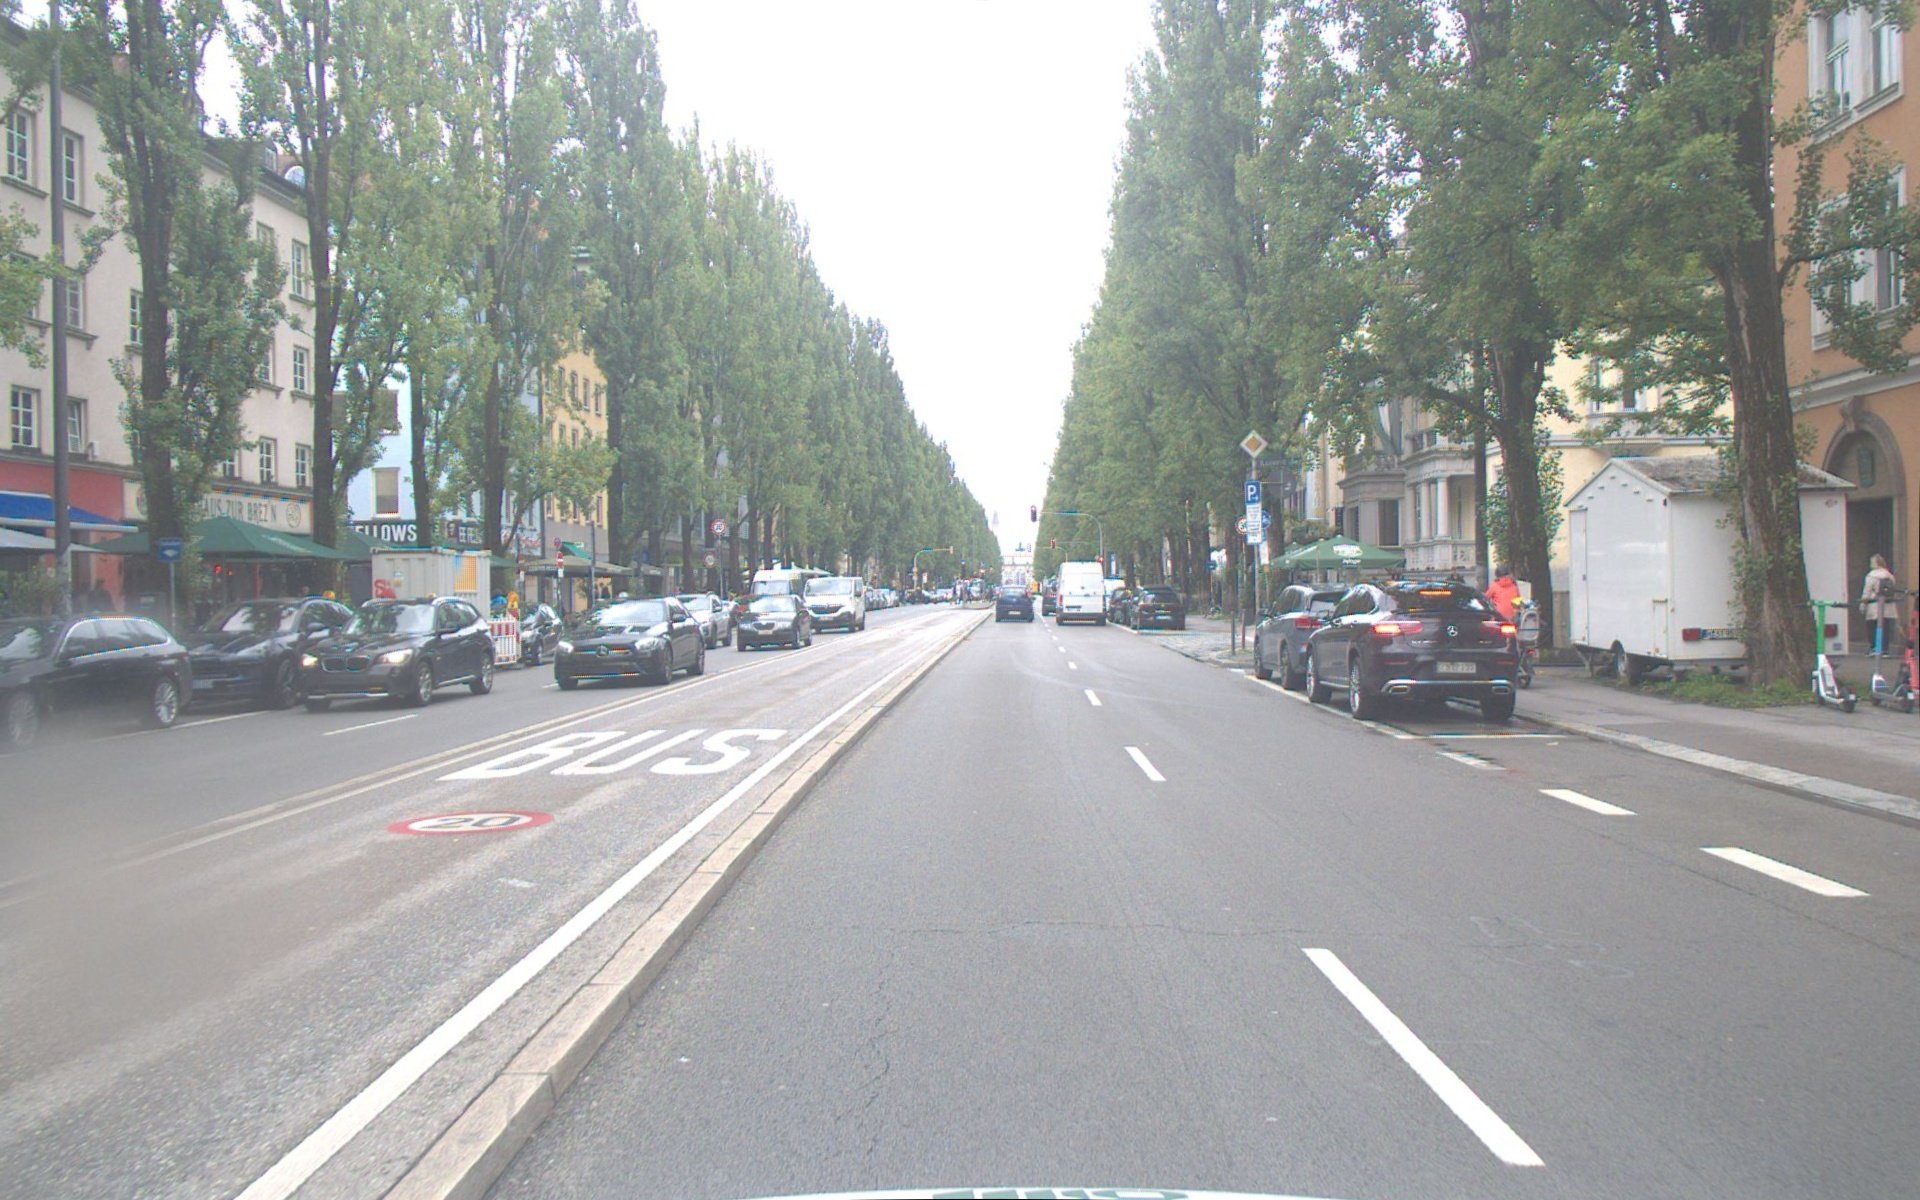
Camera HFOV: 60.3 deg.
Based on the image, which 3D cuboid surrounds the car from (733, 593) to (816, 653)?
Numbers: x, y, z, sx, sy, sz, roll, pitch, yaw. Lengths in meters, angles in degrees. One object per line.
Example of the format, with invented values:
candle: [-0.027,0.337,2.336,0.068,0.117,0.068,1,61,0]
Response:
car: [-4.849,0.576,43.736,1.676,1.438,3.723,-1,0,1]

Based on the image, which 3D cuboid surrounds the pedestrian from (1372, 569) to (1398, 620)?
pedestrian: [15.828,-0.209,61.612,0.745,1.886,0.740,-1,0,-1]

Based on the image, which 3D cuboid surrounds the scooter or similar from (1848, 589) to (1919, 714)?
scooter or similar: [10.030,0.532,17.765,0.475,1.254,1.407,-3,0,14]

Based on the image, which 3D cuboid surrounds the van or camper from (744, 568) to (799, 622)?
van or camper: [-8.954,-0.248,78.824,1.952,2.501,4.252,-1,0,2]

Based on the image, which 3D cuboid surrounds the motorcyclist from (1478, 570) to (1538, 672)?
motorcyclist: [7.934,0.291,23.949,0.552,1.431,0.766,-2,0,-2]

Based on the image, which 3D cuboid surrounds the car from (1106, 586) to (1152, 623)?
car: [7.623,0.208,74.806,1.767,1.624,4.001,0,0,2]

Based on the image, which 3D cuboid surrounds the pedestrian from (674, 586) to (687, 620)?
pedestrian: [-15.750,0.164,93.139,0.570,1.889,0.675,-1,0,0]

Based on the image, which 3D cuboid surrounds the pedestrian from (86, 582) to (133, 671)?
pedestrian: [-18.459,0.564,35.912,0.625,1.894,0.648,-1,0,1]

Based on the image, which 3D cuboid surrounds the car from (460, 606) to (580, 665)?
car: [-10.330,0.805,39.100,1.772,1.272,3.701,-1,0,1]

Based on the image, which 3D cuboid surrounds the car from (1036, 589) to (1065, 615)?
car: [4.931,0.087,90.076,1.472,1.336,3.284,-1,0,2]

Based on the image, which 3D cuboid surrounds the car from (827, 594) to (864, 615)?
car: [-8.015,0.314,116.188,1.951,1.445,4.002,0,0,5]

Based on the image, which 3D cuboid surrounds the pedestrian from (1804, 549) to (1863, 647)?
pedestrian: [14.887,-0.036,28.205,0.658,1.641,0.640,-1,0,4]

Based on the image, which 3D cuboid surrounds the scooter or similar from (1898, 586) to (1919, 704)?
scooter or similar: [10.552,0.480,17.772,0.475,1.254,1.169,-3,0,14]

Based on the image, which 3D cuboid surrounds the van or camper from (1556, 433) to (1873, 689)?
van or camper: [10.436,-0.515,23.374,2.409,3.166,4.717,-2,0,2]

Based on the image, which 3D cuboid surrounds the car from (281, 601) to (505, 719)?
car: [-8.464,0.844,25.091,1.810,1.592,4.213,-2,-1,2]

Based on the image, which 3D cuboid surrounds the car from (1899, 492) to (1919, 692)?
car: [11.848,-0.093,17.620,1.860,2.368,4.829,-2,0,13]

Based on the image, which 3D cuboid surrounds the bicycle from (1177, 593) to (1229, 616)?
bicycle: [11.063,0.197,75.385,0.752,1.041,2.703,-1,0,-33]

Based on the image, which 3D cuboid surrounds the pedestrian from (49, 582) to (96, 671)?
pedestrian: [-19.188,0.560,35.769,0.625,1.894,0.648,-1,0,1]

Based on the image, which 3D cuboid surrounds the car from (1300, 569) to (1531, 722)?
car: [5.549,0.485,20.723,1.841,1.670,4.585,-1,0,3]

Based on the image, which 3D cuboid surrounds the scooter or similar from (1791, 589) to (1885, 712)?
scooter or similar: [9.593,0.532,18.109,0.514,1.254,1.478,-3,0,14]

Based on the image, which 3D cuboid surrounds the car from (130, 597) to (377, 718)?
car: [-10.705,0.802,25.435,1.810,1.592,4.334,-2,1,1]

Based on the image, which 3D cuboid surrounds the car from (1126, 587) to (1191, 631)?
car: [7.152,0.313,60.016,1.904,1.493,4.000,-1,0,1]

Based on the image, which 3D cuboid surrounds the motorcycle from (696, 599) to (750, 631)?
motorcycle: [-9.434,0.586,66.134,1.212,1.160,3.720,-1,0,7]

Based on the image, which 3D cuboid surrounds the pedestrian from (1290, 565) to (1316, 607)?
pedestrian: [14.887,-0.628,71.765,0.797,1.786,0.932,-2,0,28]

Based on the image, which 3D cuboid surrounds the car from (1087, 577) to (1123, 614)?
car: [8.068,-0.225,92.286,1.767,2.027,4.001,0,0,2]

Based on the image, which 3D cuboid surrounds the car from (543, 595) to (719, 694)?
car: [-5.582,0.699,28.702,1.952,1.457,4.773,-2,1,1]

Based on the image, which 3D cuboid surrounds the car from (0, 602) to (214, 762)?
car: [-10.993,0.903,19.464,1.952,1.624,4.893,-2,1,3]

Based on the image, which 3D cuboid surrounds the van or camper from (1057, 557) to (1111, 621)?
van or camper: [5.120,-0.416,68.641,1.992,2.519,4.000,-1,-1,1]

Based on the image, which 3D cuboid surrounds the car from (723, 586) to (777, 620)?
car: [-9.213,0.147,72.733,1.758,1.454,4.001,0,0,2]

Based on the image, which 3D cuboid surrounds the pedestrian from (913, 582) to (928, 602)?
pedestrian: [-3.993,-0.777,166.291,1.125,1.950,1.142,-2,0,-30]

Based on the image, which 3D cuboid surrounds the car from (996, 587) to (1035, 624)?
car: [2.495,0.255,74.246,1.722,1.648,3.748,0,0,2]

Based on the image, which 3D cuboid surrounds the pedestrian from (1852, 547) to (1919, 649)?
pedestrian: [15.394,-0.040,27.392,0.803,1.641,0.779,-1,0,4]

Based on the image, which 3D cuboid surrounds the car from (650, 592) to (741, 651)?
car: [-7.449,0.596,46.938,1.788,1.559,4.001,-2,-1,1]

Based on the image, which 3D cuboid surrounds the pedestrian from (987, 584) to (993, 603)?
pedestrian: [2.768,-0.596,153.495,0.541,1.746,0.493,-2,0,2]

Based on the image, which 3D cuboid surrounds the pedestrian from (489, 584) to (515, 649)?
pedestrian: [-12.923,0.458,46.693,0.654,1.818,0.827,0,-1,-14]

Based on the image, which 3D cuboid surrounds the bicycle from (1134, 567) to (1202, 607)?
bicycle: [10.939,-0.689,87.042,3.473,2.049,1.298,0,-1,11]

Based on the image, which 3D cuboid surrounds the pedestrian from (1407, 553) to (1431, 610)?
pedestrian: [13.614,-0.556,49.071,0.634,1.675,0.766,0,-1,11]

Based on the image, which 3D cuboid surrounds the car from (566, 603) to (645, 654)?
car: [-9.990,0.788,46.837,1.480,1.368,3.237,0,0,1]

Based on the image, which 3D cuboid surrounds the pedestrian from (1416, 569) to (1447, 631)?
pedestrian: [12.941,0.007,45.381,0.656,1.679,0.625,-1,0,29]

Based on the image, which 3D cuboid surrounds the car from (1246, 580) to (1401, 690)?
car: [5.756,0.494,26.634,1.590,1.592,4.372,-1,1,1]

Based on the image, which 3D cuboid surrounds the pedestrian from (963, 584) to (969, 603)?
pedestrian: [0.575,-0.621,153.680,0.541,1.746,0.493,-2,0,2]

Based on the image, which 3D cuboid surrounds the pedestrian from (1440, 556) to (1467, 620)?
pedestrian: [14.661,-0.354,49.148,0.686,1.905,0.766,0,-1,11]

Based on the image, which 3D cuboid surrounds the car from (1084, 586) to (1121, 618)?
car: [7.413,0.100,86.260,1.726,1.624,4.001,0,0,2]

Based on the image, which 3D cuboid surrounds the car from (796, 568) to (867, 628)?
car: [-4.566,-0.058,59.366,1.952,1.967,4.919,-3,0,2]

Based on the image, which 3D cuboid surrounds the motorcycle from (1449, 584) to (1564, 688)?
motorcycle: [7.850,0.487,23.885,0.809,1.394,2.252,-2,0,-2]
